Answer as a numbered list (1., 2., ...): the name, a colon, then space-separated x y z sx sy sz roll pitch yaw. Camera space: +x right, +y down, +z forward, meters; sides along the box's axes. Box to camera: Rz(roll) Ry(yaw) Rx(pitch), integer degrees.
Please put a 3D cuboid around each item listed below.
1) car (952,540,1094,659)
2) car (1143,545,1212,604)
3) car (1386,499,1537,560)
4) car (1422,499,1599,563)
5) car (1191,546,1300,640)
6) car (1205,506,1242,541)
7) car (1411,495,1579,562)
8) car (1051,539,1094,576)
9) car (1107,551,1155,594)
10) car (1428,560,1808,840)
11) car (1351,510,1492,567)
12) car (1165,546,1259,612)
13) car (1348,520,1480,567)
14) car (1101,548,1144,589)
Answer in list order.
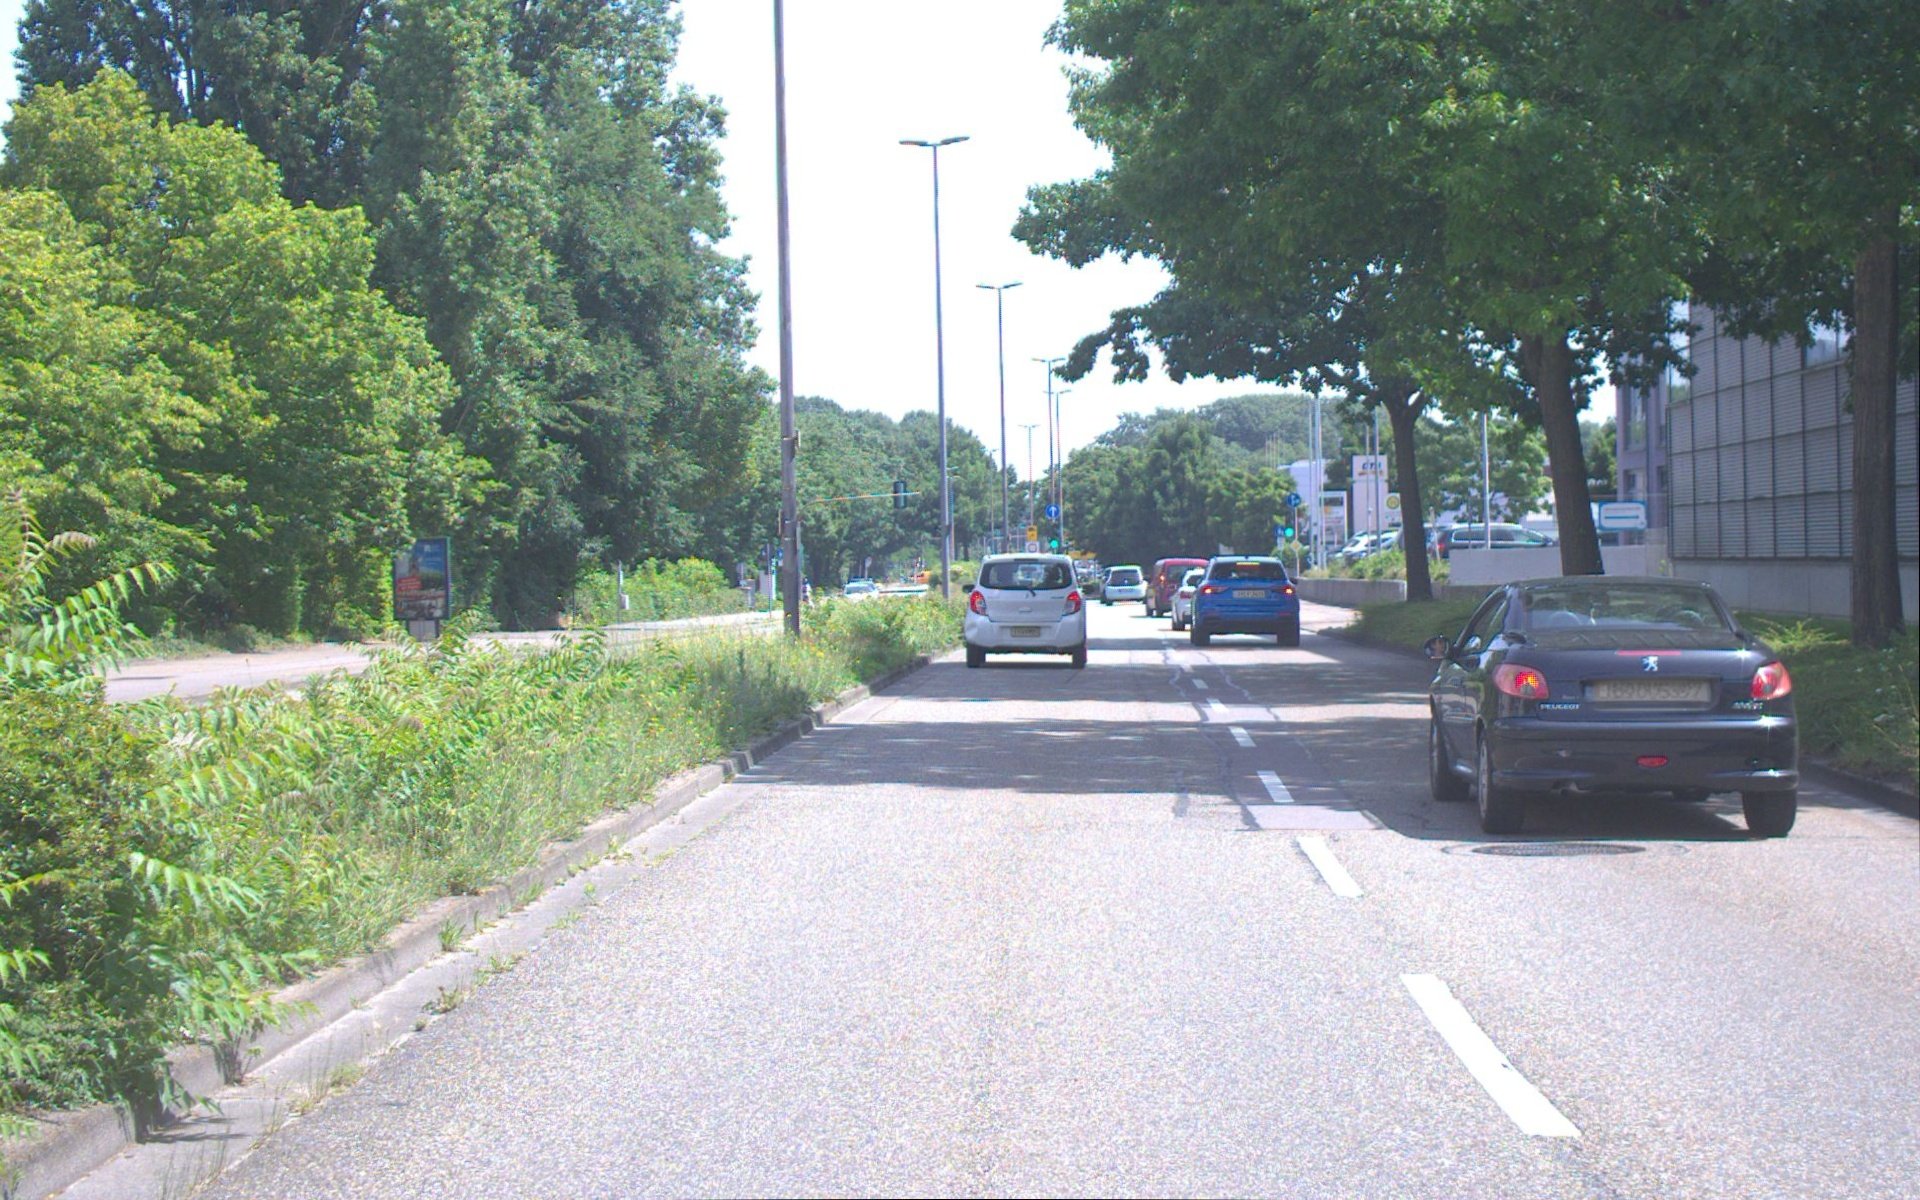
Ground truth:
1. car: 0.897 -0.035 46.869 1.748 1.515 3.745 0 2 4
2. car: 6.648 -0.786 105.259 1.776 1.734 4.000 -2 0 0
3. car: 14.973 -2.091 102.862 4.227 1.641 2.000 -2 0 2
4. car: 15.039 -1.881 94.113 4.499 1.577 2.000 -2 0 2
5. car: 5.097 -0.142 61.187 1.828 1.575 3.605 -1 0 5
6. car: 15.665 -4.549 204.634 1.770 2.007 3.991 -2 1 -1
7. car: 13.871 -1.858 89.226 3.987 1.613 2.000 -2 1 -1
8. car: 5.414 -2.079 165.555 1.819 1.656 4.001 -2 2 -1
9. car: 6.873 -1.112 138.338 1.819 1.656 4.000 -1 1 2
10. car: 3.598 0.488 19.351 1.627 1.359 3.605 0 2 3
11. car: 14.651 -1.943 109.254 4.227 1.641 2.000 -2 0 2
12. car: 5.832 -0.489 79.805 1.993 1.437 4.000 -2 1 2
13. car: 16.473 -2.039 124.817 4.535 1.539 2.000 -2 0 3
14. car: 7.001 -1.348 148.314 1.797 1.684 4.000 -2 0 2
